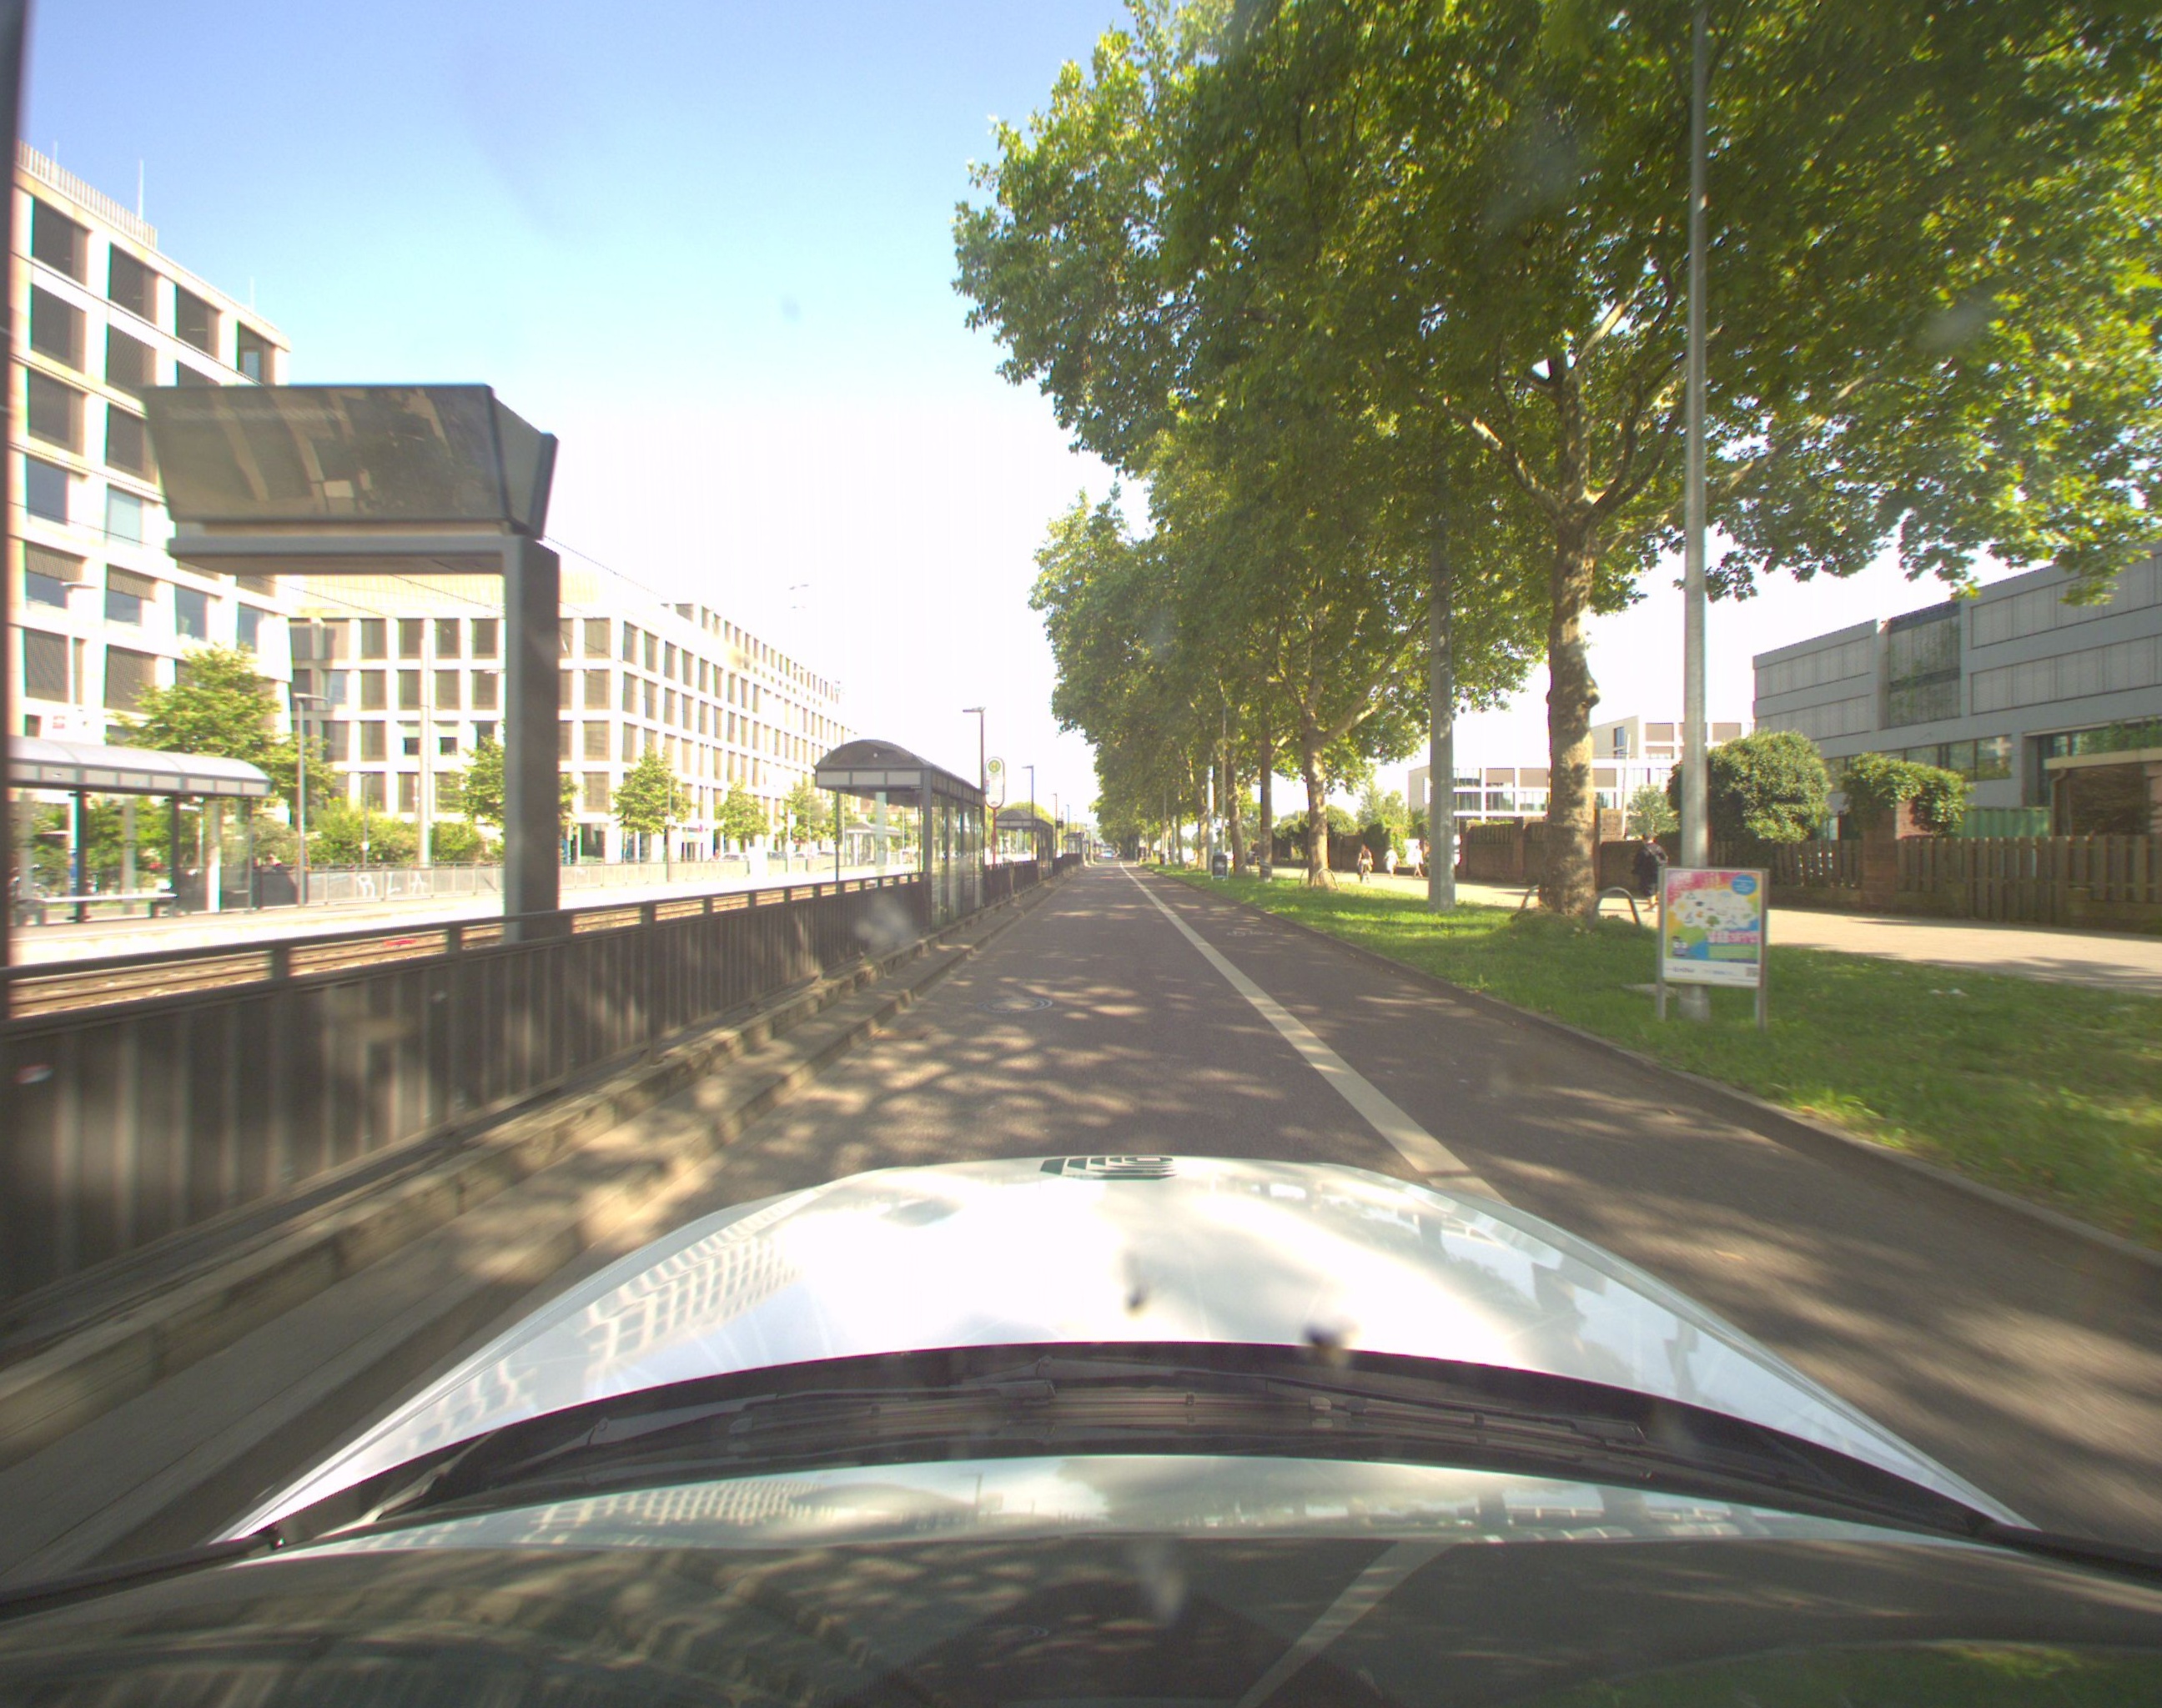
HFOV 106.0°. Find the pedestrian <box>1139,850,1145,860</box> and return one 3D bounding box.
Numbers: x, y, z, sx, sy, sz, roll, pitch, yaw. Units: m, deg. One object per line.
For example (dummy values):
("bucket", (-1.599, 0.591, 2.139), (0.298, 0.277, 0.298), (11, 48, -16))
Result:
("pedestrian", (10.110, 0.218, 134.123), (0.619, 1.617, 0.850), (-1, 0, 39))

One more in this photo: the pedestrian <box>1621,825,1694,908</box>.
("pedestrian", (12.242, 0.257, 17.326), (0.816, 1.686, 1.012), (-1, 0, 2))

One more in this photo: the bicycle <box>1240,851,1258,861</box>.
("bicycle", (16.807, 0.188, 81.369), (1.649, 0.969, 0.507), (-2, 0, 4))

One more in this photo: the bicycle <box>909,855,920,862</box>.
("bicycle", (-14.901, 0.398, 72.773), (0.474, 0.662, 1.616), (0, 0, 6))

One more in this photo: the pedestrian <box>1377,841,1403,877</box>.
("pedestrian", (14.469, 0.227, 38.163), (0.803, 1.604, 0.947), (-2, 0, 2))

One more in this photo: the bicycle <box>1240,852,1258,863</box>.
("bicycle", (15.860, 0.349, 76.843), (1.647, 0.969, 0.507), (-2, 0, 7))

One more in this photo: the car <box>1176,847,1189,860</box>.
("car", (16.322, -0.063, 131.022), (1.715, 2.048, 4.464), (0, 0, 2))

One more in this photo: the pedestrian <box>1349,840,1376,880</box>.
("pedestrian", (11.924, 0.260, 34.521), (0.803, 1.636, 0.947), (-2, 0, 2))

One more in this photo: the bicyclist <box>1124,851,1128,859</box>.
("bicyclist", (8.703, 0.205, 158.775), (0.703, 1.461, 1.009), (1, 0, 2))

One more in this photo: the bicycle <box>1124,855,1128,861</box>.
("bicycle", (8.693, 0.726, 158.657), (0.712, 1.107, 2.510), (1, 0, 2))

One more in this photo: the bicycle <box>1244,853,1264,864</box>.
("bicycle", (15.712, 0.424, 73.943), (1.647, 0.969, 0.507), (-2, 0, 7))

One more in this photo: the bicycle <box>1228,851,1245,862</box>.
("bicycle", (15.350, 0.254, 80.511), (0.509, 0.969, 1.642), (-2, 0, -40))

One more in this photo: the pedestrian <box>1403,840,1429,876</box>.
("pedestrian", (15.643, 0.190, 38.091), (0.803, 1.604, 0.947), (-2, 0, 2))

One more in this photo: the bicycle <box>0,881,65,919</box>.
("bicycle", (-29.093, 1.235, 21.915), (2.425, 0.986, 0.821), (-1, 0, 0))

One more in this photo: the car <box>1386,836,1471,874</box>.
("car", (22.339, 0.052, 52.533), (4.645, 2.318, 2.056), (1, 0, 1))

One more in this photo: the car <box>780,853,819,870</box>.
("car", (-23.513, 0.594, 68.121), (1.636, 1.377, 4.224), (-1, 0, 2))
